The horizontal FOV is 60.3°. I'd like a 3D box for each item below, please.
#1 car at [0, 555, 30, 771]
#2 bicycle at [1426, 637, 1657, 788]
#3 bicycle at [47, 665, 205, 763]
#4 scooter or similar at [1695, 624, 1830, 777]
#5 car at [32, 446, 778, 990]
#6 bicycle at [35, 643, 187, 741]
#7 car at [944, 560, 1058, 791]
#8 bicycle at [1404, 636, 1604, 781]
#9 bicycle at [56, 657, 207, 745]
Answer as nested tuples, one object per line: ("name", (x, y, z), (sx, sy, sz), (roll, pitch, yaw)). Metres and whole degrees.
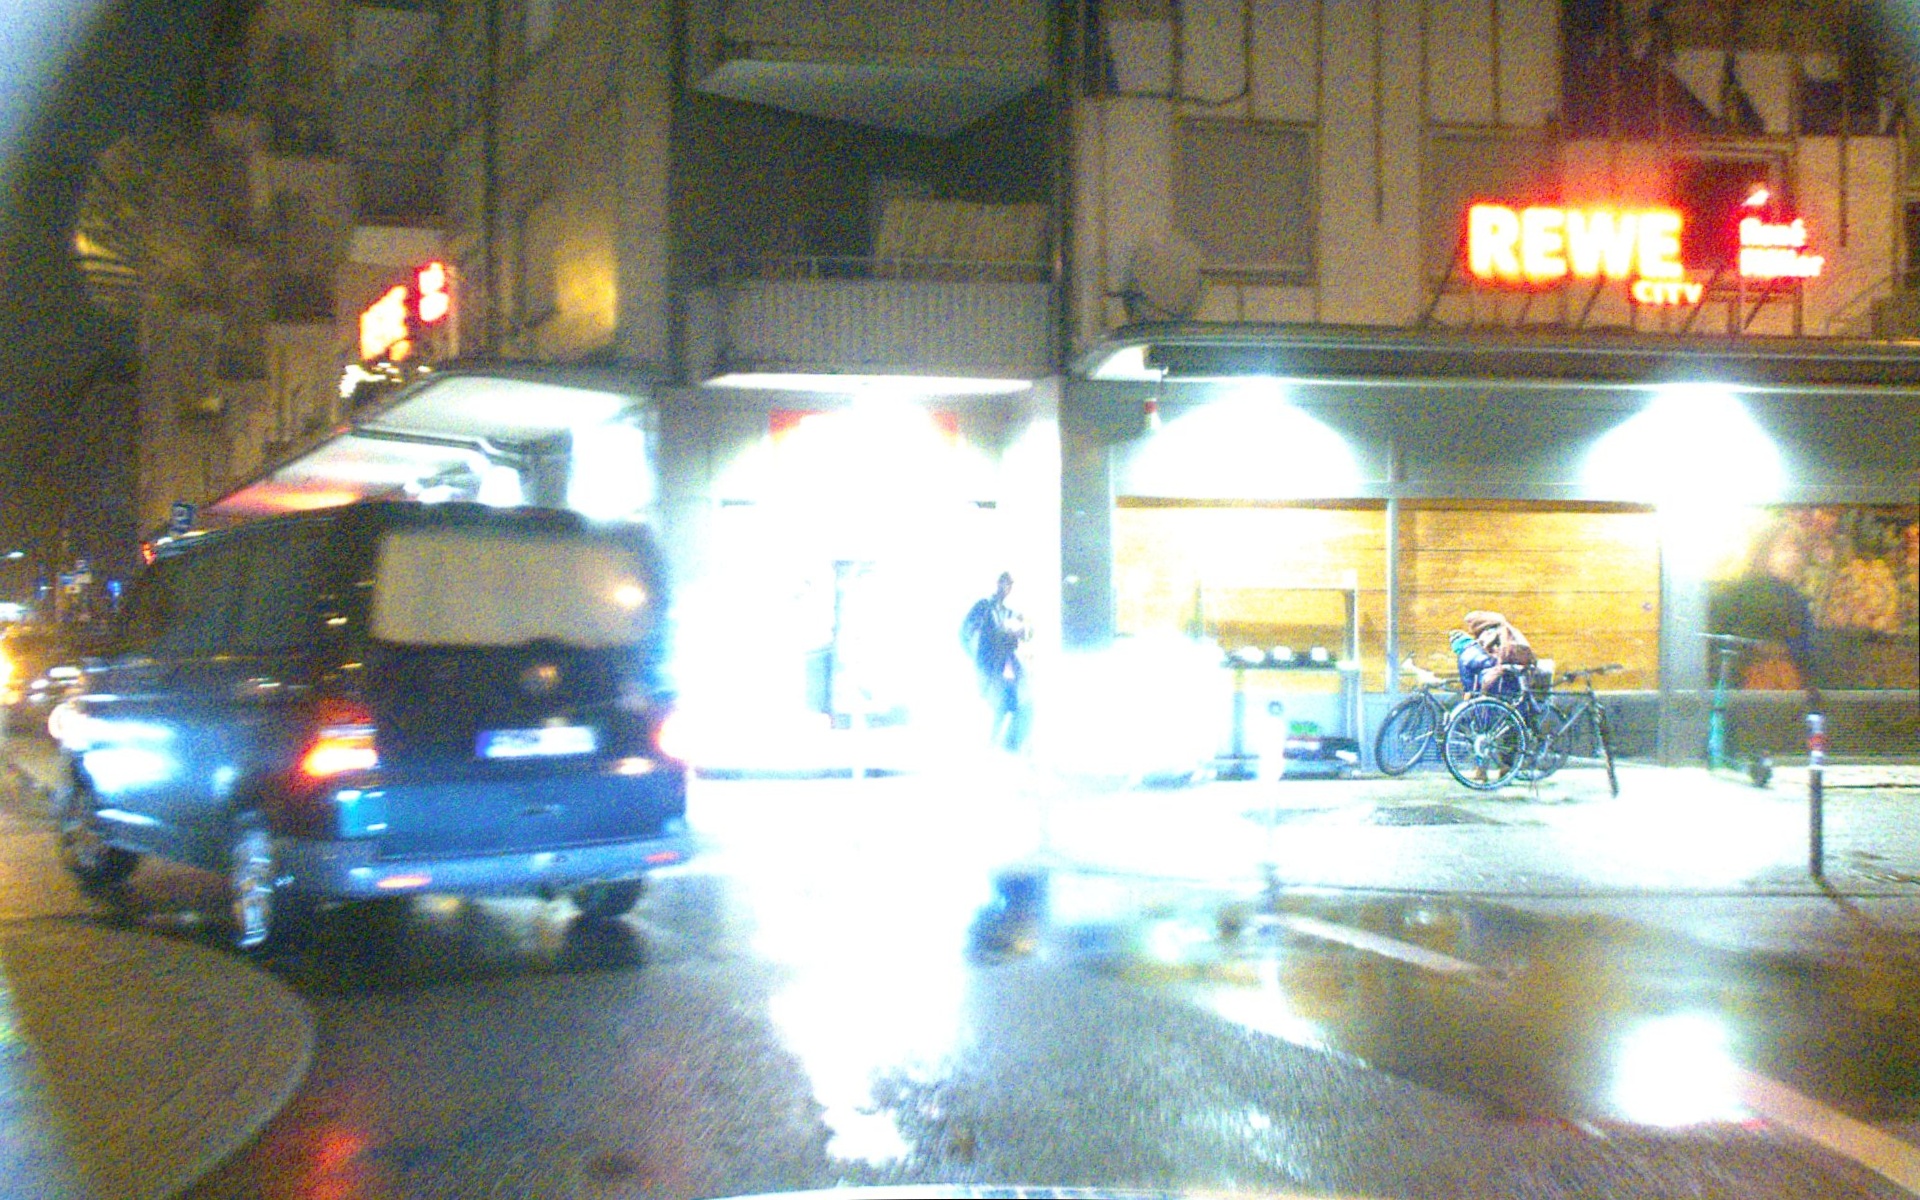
("car", (-10.808, 0.563, 16.301), (2.108, 1.956, 4.758), (2, -1, -39))
("bicycle", (4.695, 0.903, 13.382), (1.745, 1.194, 0.384), (0, -1, -3))
("bicycle", (-10.597, 1.432, 21.043), (1.766, 1.144, 0.430), (0, 0, -33))
("scooter or similar", (6.983, 0.846, 14.446), (0.514, 1.251, 1.313), (1, 0, -1))
("car", (-3.108, 0.477, 8.596), (2.111, 2.026, 4.532), (1, -2, -41))
("bicycle", (-11.422, 1.219, 22.279), (1.746, 1.144, 0.430), (-4, 2, -33))
("car", (0.330, 0.614, 13.949), (0.857, 1.873, 0.963), (1, 0, -4))
("bicycle", (4.684, 0.933, 14.273), (1.609, 1.195, 0.384), (1, -4, -3))
("bicycle", (-10.951, 1.319, 21.893), (1.745, 1.098, 0.430), (0, -1, -33))
